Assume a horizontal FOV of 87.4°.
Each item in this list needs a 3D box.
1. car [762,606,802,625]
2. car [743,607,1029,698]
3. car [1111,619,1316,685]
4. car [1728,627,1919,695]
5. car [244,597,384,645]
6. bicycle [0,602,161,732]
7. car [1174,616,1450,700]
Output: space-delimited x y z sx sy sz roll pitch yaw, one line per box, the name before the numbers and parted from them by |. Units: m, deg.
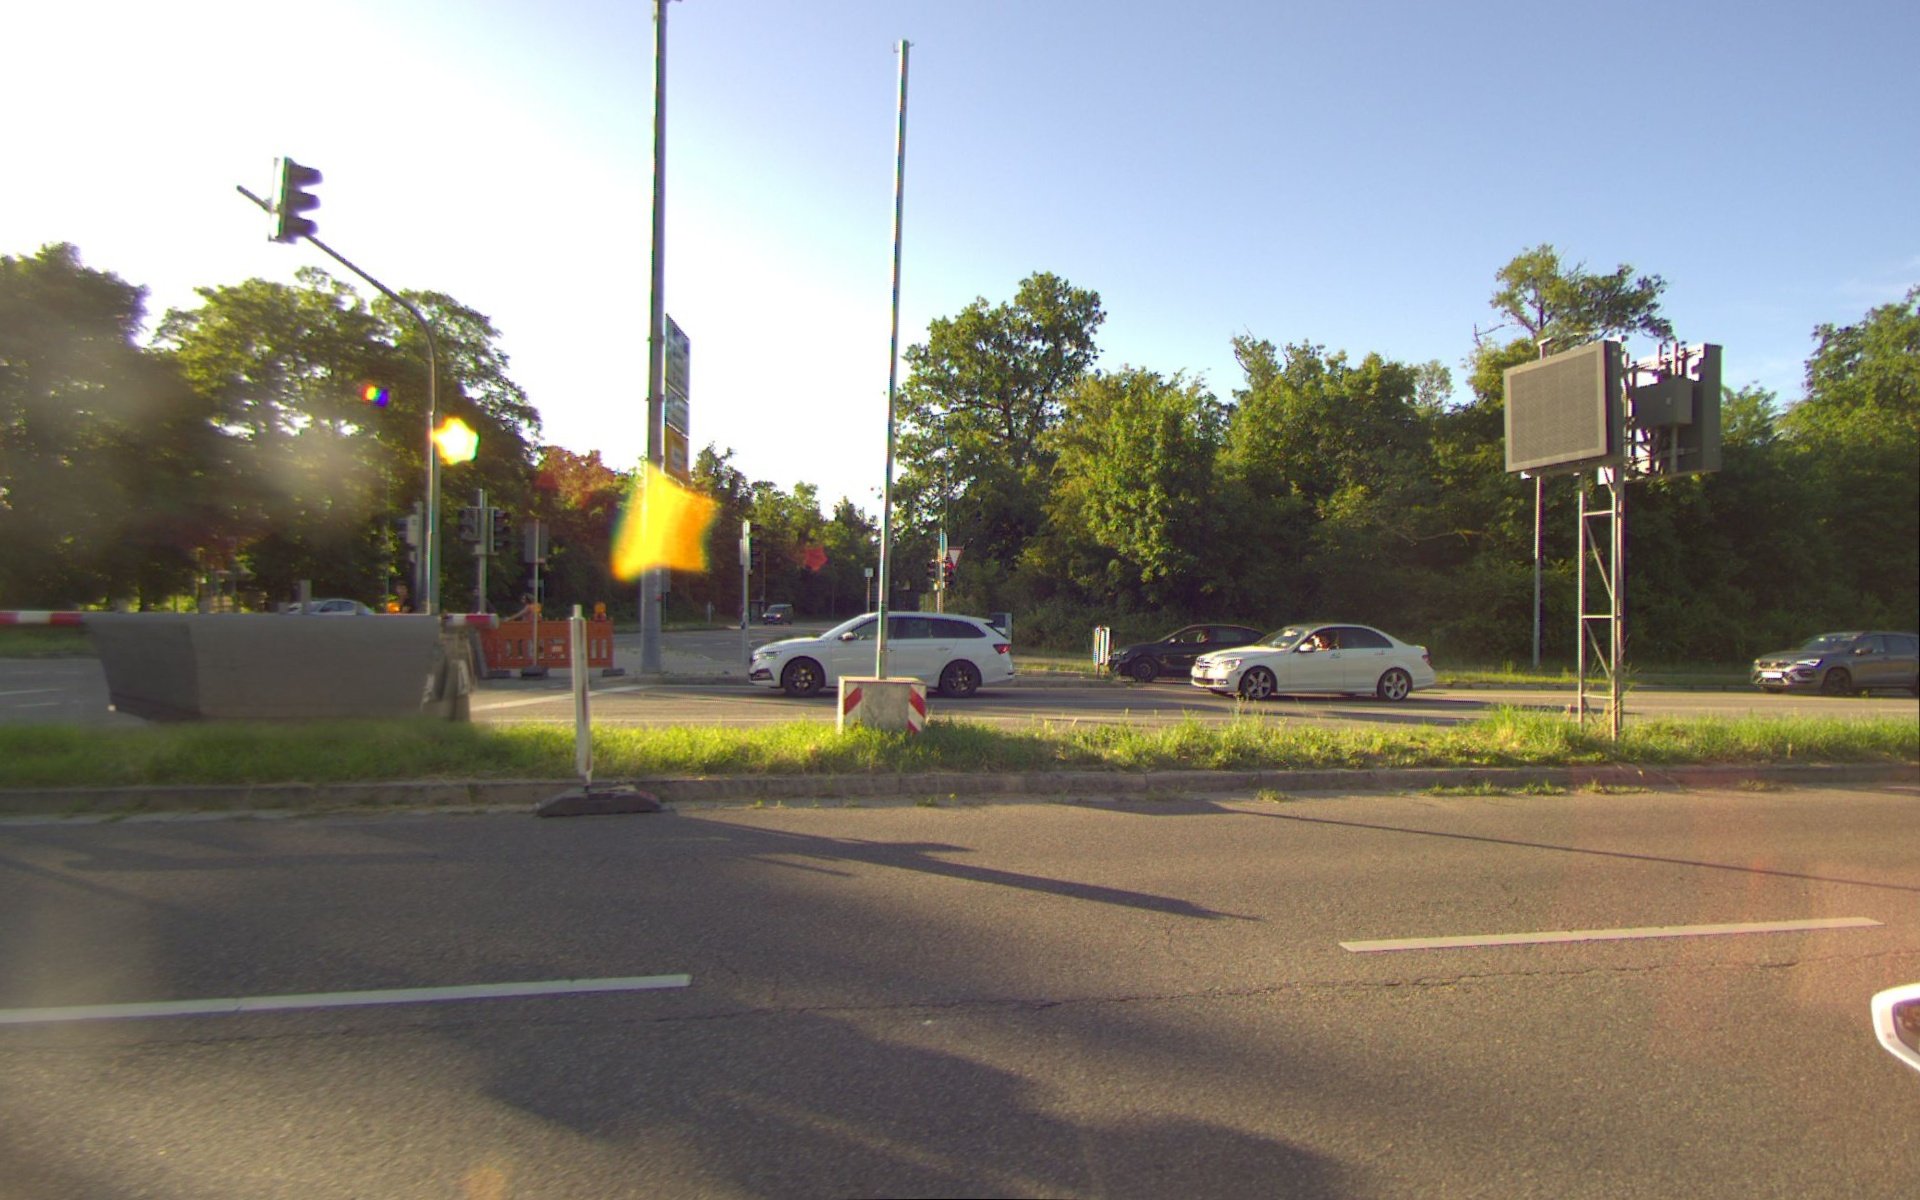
car | -16.311 1.387 92.377 1.959 1.709 4.745 0 -1 12
car | -1.364 0.918 17.632 4.759 1.470 1.995 1 -2 -13
car | 6.045 1.227 24.402 4.554 1.470 2.001 1 -1 5
car | 22.014 1.500 24.978 4.562 1.584 1.998 1 -2 -8
car | -24.426 0.784 38.246 1.960 1.709 4.745 1 -1 5
bicycle | -6.773 0.491 7.435 1.322 0.917 0.339 2 0 -10
car | 6.596 1.083 19.022 4.565 1.470 1.997 1 -2 -11
